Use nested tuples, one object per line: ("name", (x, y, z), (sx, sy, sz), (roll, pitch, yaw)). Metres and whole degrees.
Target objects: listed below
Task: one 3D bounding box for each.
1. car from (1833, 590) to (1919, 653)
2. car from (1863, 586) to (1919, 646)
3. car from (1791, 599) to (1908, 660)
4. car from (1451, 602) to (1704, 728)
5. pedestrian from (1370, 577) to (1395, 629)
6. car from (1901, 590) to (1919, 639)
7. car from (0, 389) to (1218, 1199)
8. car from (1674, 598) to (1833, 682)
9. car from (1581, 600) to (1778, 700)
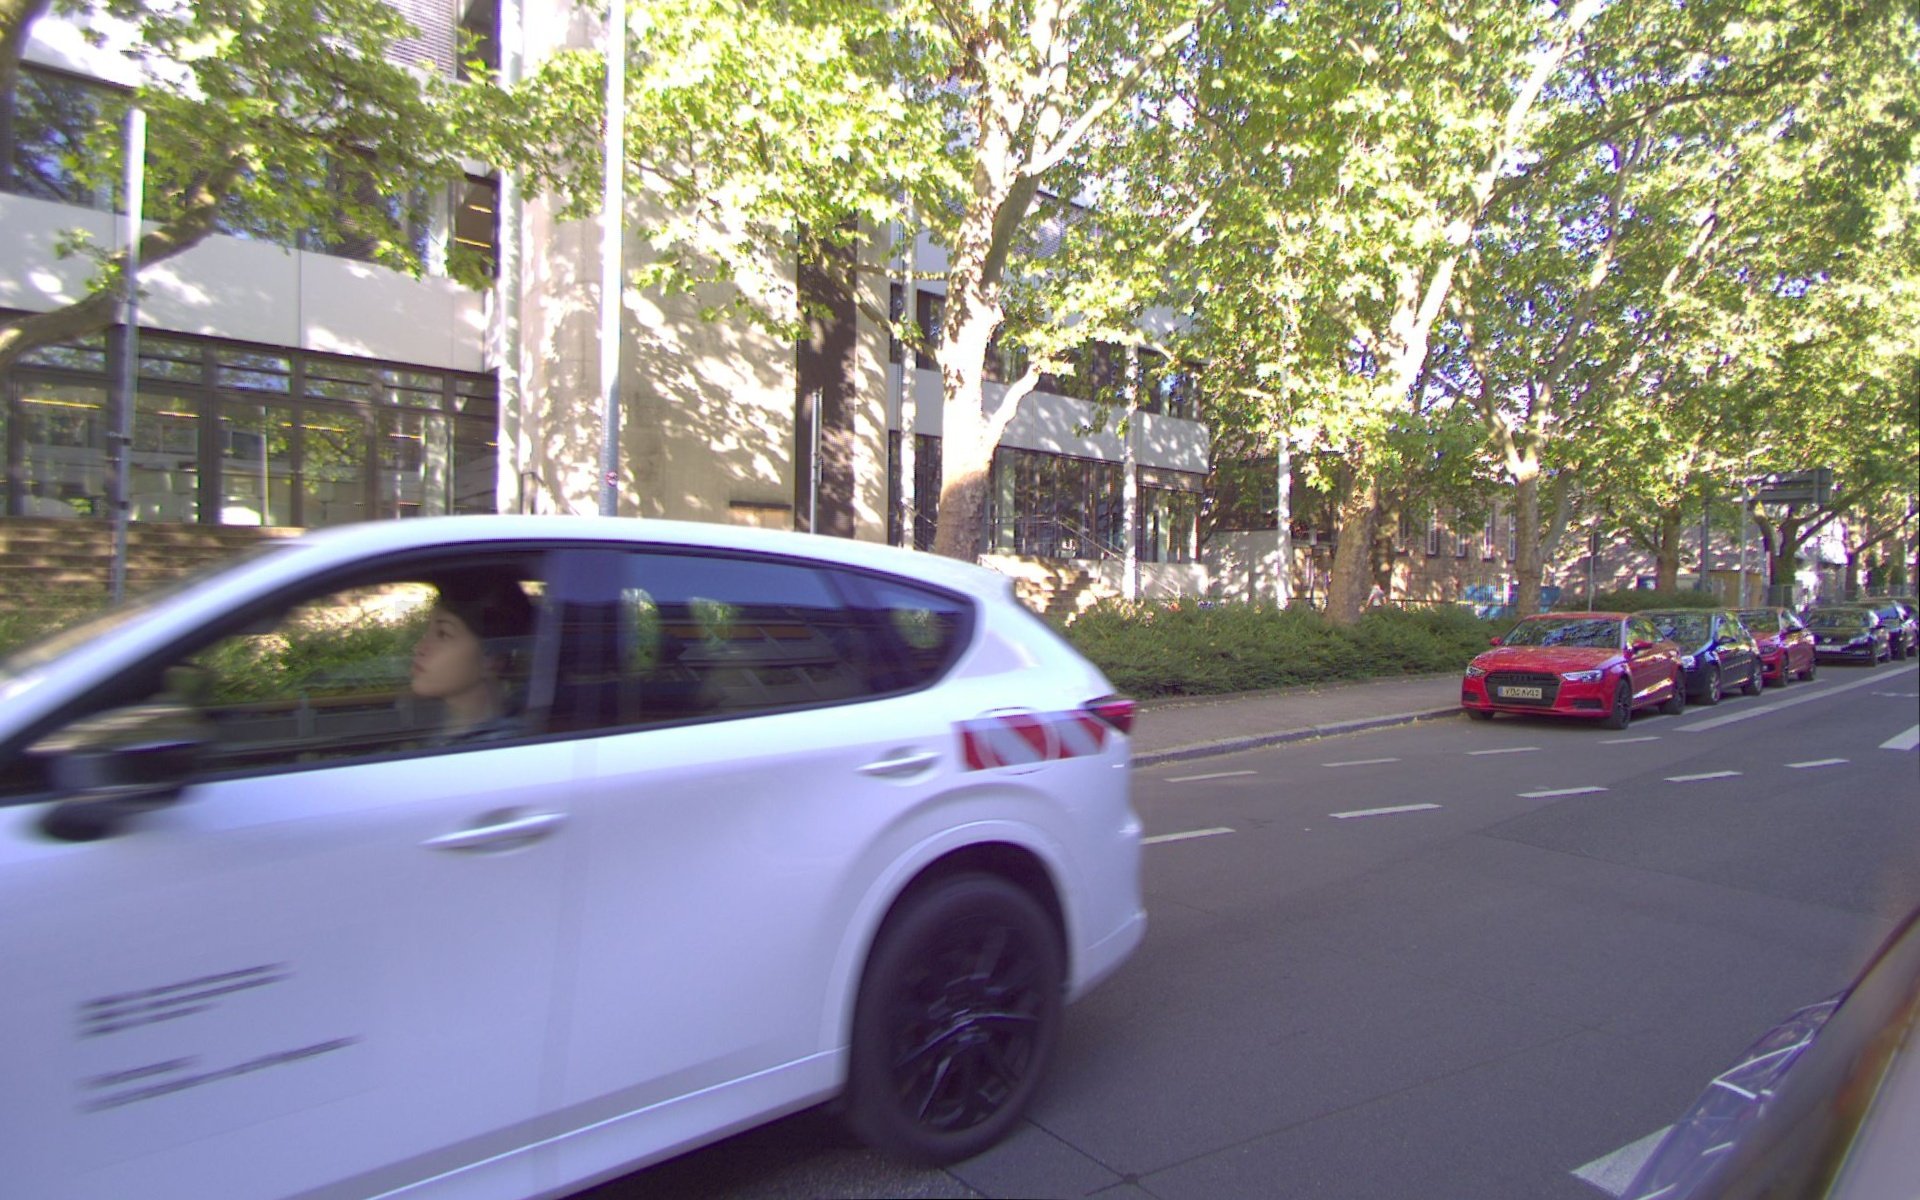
("car", (26.725, 0.586, 29.191), (4.101, 1.674, 1.753), (0, -1, -41))
("car", (30.982, 0.487, 32.982), (4.370, 1.843, 1.753), (0, -1, -41))
("car", (22.958, 0.717, 26.079), (3.841, 1.451, 1.753), (0, -1, -41))
("car", (8.286, 0.754, 13.459), (3.930, 1.427, 1.753), (0, -1, -41))
("pedestrian", (13.953, 0.093, 33.396), (0.649, 1.691, 0.525), (0, 0, -39))
("car", (36.206, 0.517, 37.279), (4.370, 1.750, 1.753), (0, -1, -41))
("car", (-1.524, 0.567, 2.573), (4.401, 1.730, 1.948), (0, -1, -38))
("car", (15.713, 0.721, 19.980), (3.841, 1.486, 1.753), (0, -1, -41))
("car", (11.862, 0.740, 16.604), (3.841, 1.451, 1.753), (0, -1, -41))
